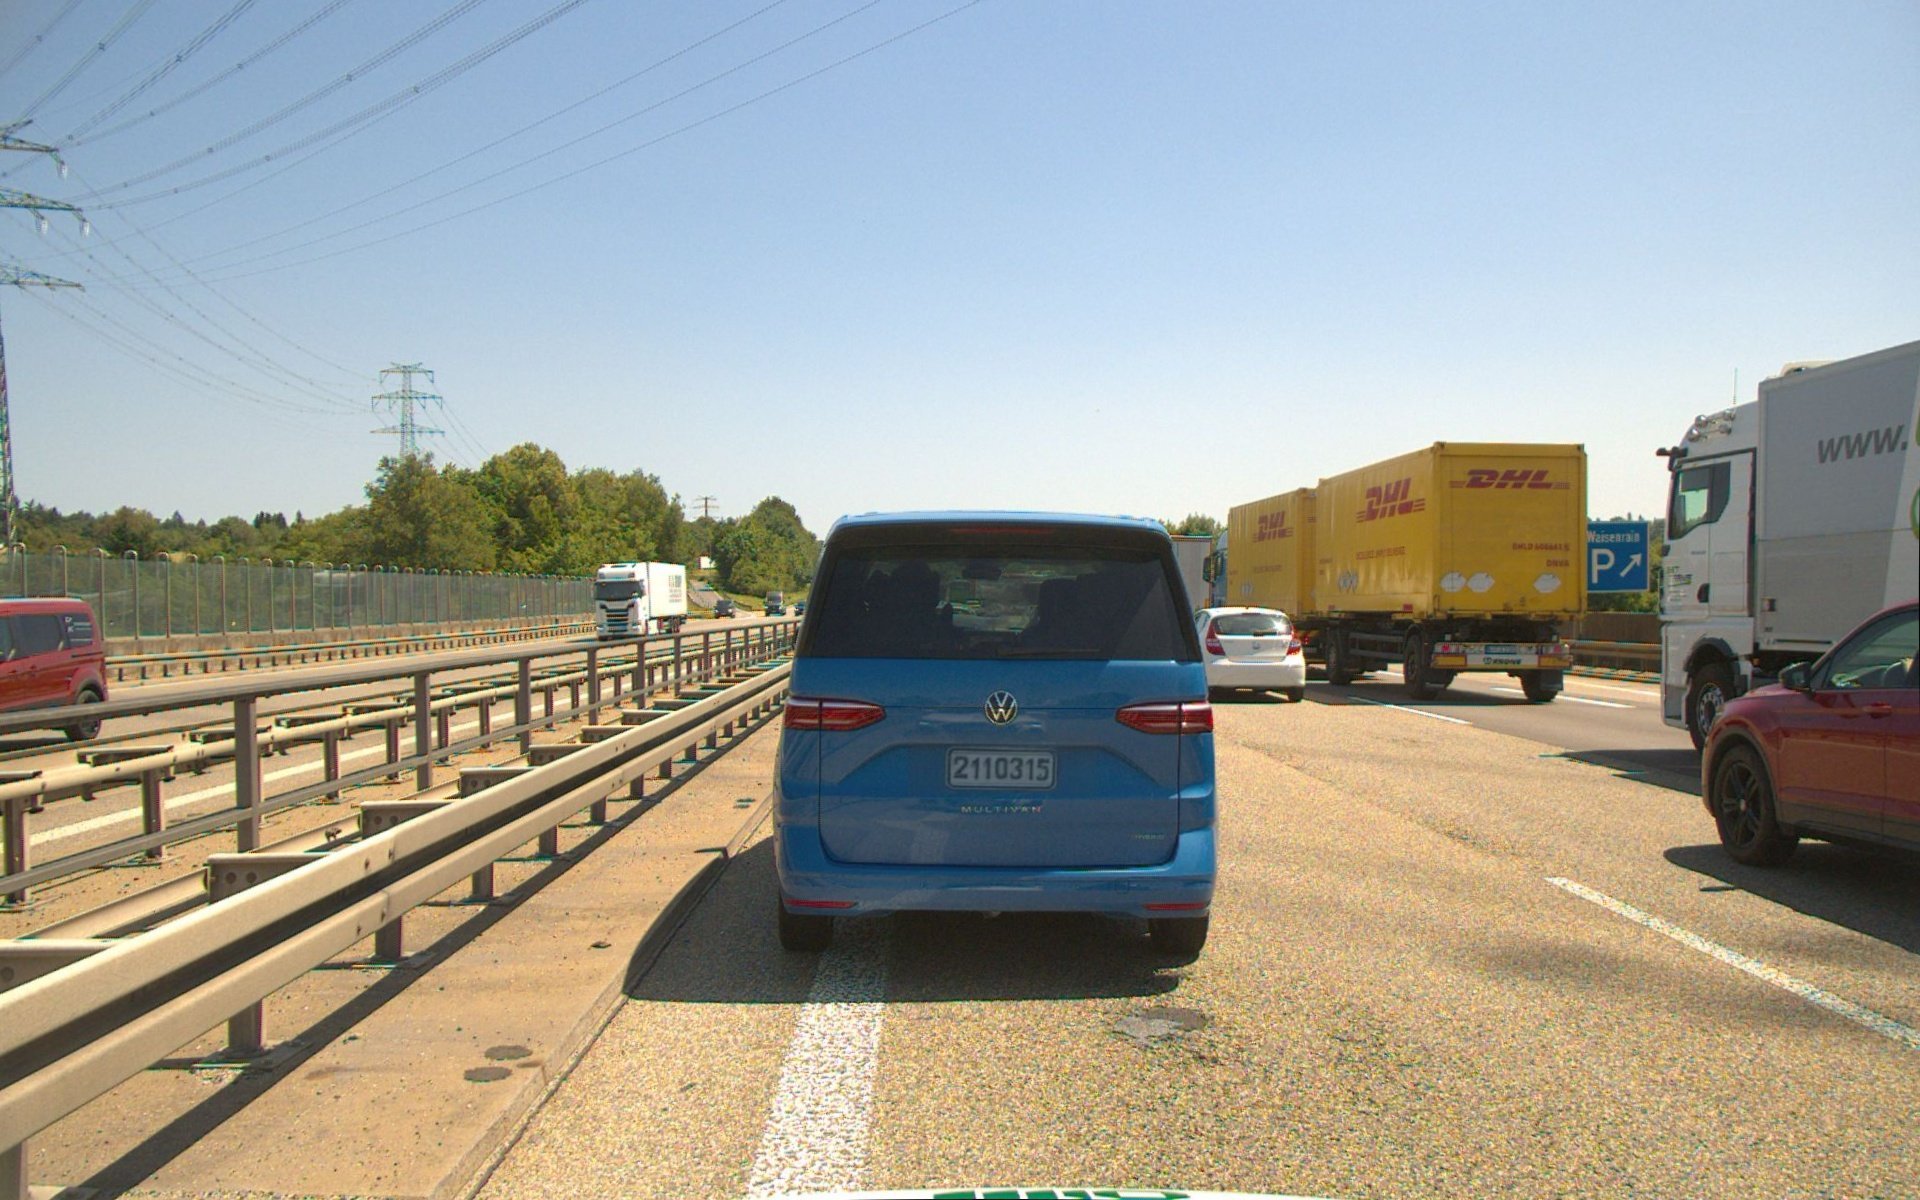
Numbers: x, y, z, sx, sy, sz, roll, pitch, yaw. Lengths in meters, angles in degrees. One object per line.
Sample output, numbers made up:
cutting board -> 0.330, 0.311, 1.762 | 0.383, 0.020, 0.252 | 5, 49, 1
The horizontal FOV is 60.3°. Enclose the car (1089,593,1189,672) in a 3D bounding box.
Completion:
car -> 4.102, 0.729, 38.432 | 1.778, 1.708, 3.931 | 1, -1, -1

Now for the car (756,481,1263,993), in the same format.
car -> 0.161, 0.542, 8.264 | 1.891, 1.906, 3.999 | 1, -1, -1

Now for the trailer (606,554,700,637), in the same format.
trailer -> -17.612, -0.169, 95.991 | 2.847, 4.383, 13.659 | -2, -1, 0

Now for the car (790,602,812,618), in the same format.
car -> -15.862, 0.958, 165.412 | 1.736, 1.518, 4.604 | -1, 0, -1

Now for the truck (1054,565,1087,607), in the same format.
truck -> 7.071, -0.880, 106.571 | 1.760, 2.641, 4.304 | 1, -1, -1

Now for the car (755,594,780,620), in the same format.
car -> -20.699, 0.774, 178.119 | 1.953, 2.627, 6.647 | -2, -1, -2

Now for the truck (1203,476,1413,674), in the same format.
truck -> 8.138, -0.479, 40.111 | 2.645, 4.159, 9.935 | 1, -1, -2

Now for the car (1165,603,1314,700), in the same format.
car -> 4.609, 0.826, 27.824 | 1.778, 1.496, 3.931 | 1, -1, -1

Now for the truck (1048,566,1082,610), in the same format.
truck -> 6.408, -0.723, 101.043 | 1.706, 2.593, 4.209 | 1, -1, -1

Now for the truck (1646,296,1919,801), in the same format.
truck -> 8.992, -0.394, 12.742 | 2.794, 4.003, 10.606 | 1, -1, -1

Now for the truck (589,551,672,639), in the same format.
truck -> -17.597, -0.219, 88.812 | 2.869, 4.368, 6.857 | -3, -1, 0

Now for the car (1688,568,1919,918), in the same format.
car -> 5.518, 0.712, 8.437 | 1.674, 1.708, 4.283 | 1, -1, -1

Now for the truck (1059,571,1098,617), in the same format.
truck -> 6.608, -0.297, 92.577 | 1.761, 2.492, 4.503 | 1, -1, -1

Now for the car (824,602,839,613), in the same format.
car -> -19.872, 1.165, 255.546 | 1.953, 1.571, 4.385 | -2, 0, -1

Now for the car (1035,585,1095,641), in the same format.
car -> 3.906, 0.496, 62.198 | 1.922, 1.970, 3.931 | 1, -1, -1

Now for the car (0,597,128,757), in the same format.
car -> -12.058, 0.920, 19.889 | 1.802, 1.854, 4.746 | -1, -1, -2

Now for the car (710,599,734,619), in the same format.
car -> -24.328, 0.951, 169.171 | 1.918, 1.939, 4.948 | -2, -1, -2

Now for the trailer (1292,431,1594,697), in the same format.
trailer -> 8.552, -0.518, 30.668 | 2.629, 4.159, 8.976 | 1, -1, -2

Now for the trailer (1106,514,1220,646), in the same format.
trailer -> 7.804, -0.665, 65.111 | 2.964, 4.692, 10.922 | 1, -1, -1
